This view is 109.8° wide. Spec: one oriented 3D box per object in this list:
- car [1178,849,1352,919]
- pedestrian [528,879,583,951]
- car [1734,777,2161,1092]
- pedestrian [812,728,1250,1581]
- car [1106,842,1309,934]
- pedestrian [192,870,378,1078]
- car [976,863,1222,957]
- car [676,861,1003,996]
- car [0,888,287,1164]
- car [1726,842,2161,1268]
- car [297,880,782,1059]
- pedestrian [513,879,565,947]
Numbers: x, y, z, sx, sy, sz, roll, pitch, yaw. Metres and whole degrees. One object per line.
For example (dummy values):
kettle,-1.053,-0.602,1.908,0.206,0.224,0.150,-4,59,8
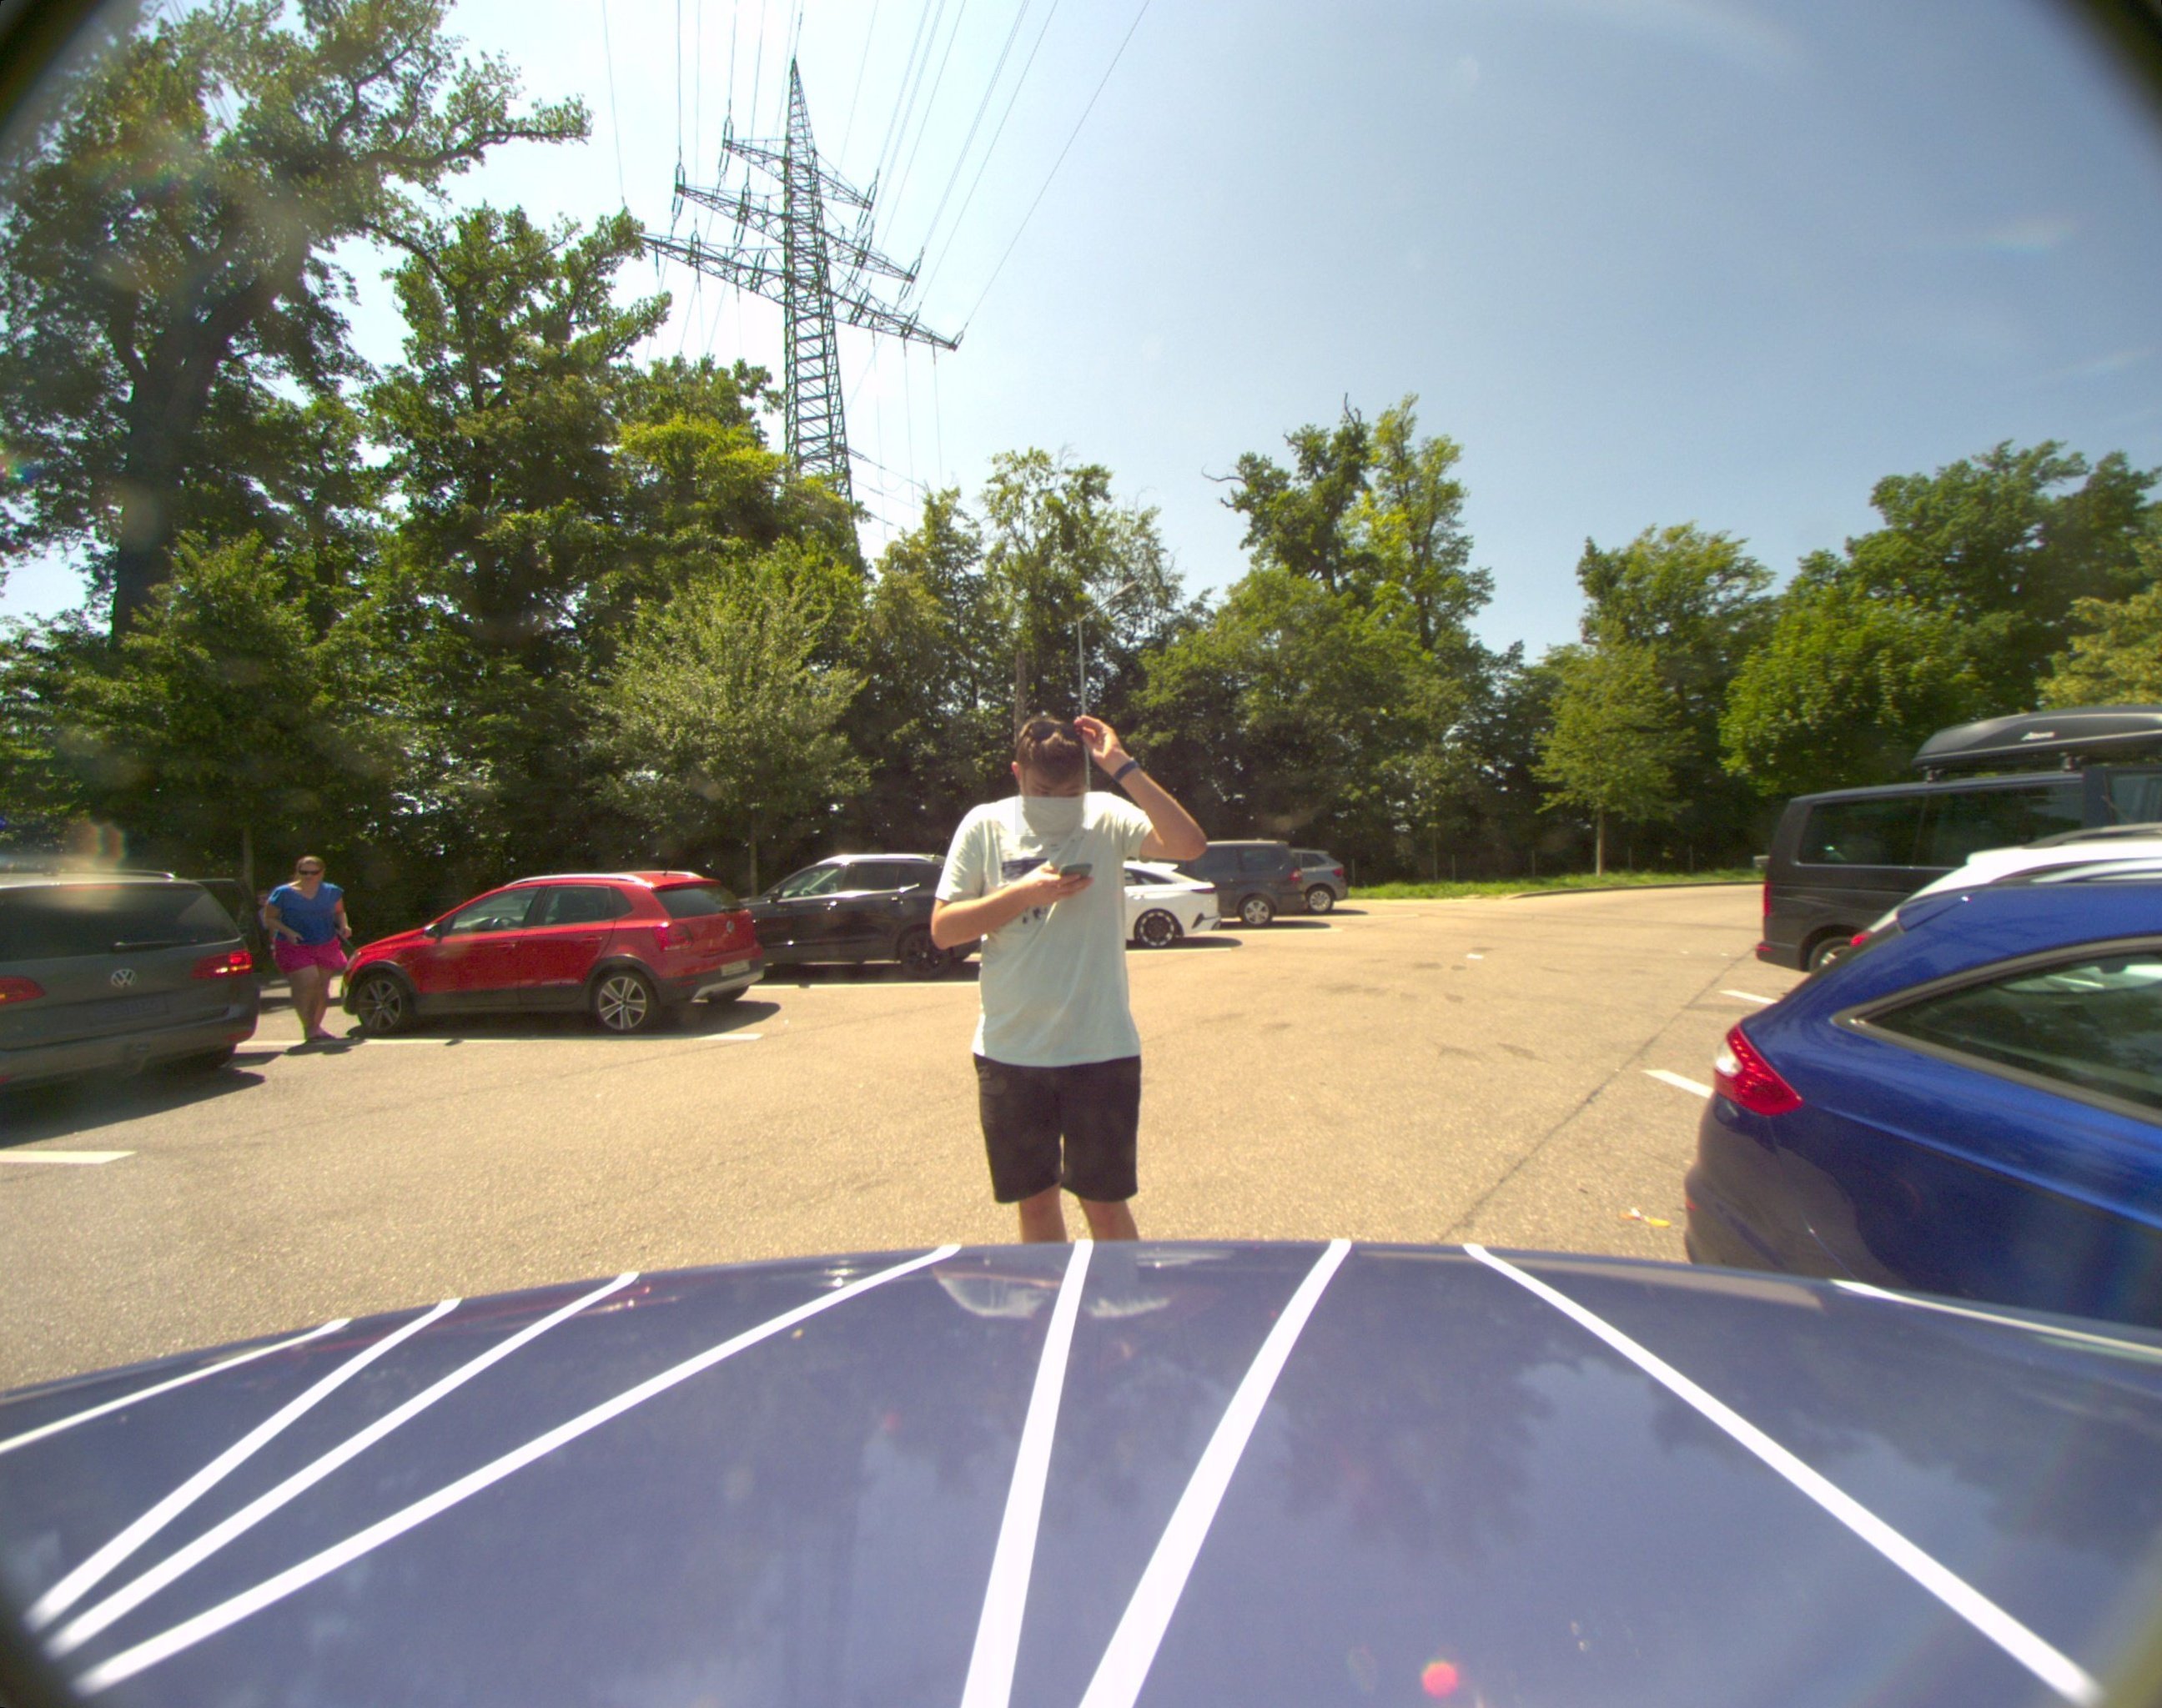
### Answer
car,4.319,0.688,18.145,3.818,1.530,1.722,-1,1,12
pedestrian,-10.029,1.141,14.498,0.782,1.287,0.670,-1,2,45
car,7.301,0.433,4.904,1.961,1.858,4.642,-3,-1,-3
pedestrian,-0.085,0.663,1.966,0.889,1.831,0.622,-2,1,5
car,2.567,0.666,15.442,3.818,1.714,1.722,-1,1,12
pedestrian,-7.103,1.003,6.808,0.732,1.672,0.921,-2,1,29
car,0.344,0.899,12.716,3.819,1.377,1.722,-1,1,6
car,-3.086,0.937,10.250,3.787,1.564,1.721,-1,1,2
car,-8.311,1.108,5.429,3.985,1.572,1.749,-1,1,12
car,4.854,0.722,2.274,1.741,1.524,4.642,-3,-1,-2
car,-5.259,1.067,7.639,3.785,1.457,1.722,-1,1,9
pedestrian,-10.924,1.167,15.299,0.782,1.287,0.670,-1,2,45
